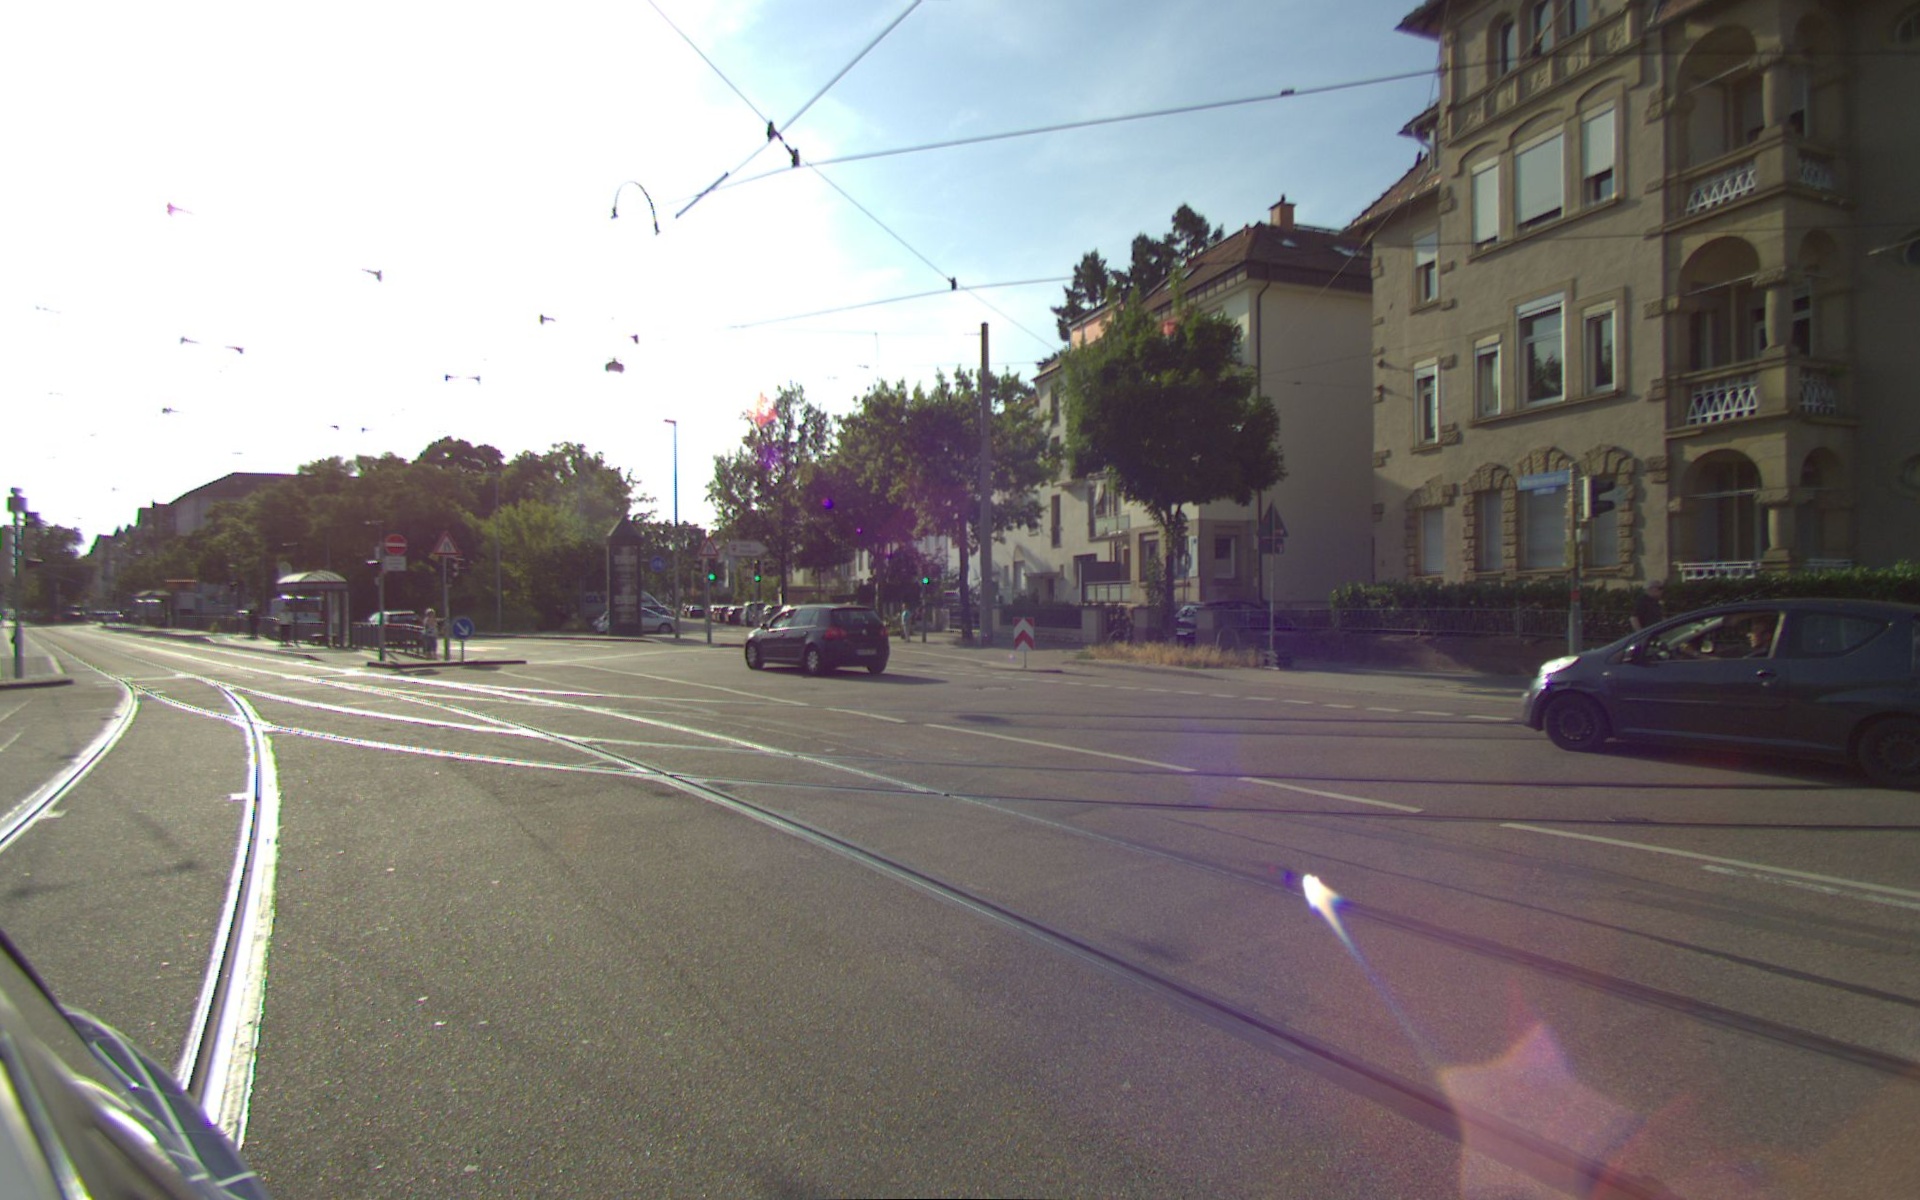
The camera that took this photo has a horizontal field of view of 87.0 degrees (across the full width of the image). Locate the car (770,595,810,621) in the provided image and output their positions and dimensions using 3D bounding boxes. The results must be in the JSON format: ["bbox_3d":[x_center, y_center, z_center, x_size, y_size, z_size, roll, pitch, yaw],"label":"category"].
[{"bbox_3d":[-9.795,0.441,58.245,1.523,1.437,3.877,-1,0,-21],"label":"car"}]

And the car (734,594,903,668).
[{"bbox_3d":[-3.147,0.626,21.905,1.745,1.444,4.006,-1,0,-40],"label":"car"}]

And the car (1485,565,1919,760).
[{"bbox_3d":[6.946,0.471,9.069,1.613,1.444,3.637,-1,0,-36],"label":"car"}]

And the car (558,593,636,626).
[{"bbox_3d":[-20.503,0.545,57.134,3.931,1.767,1.861,-1,0,-25],"label":"car"}]

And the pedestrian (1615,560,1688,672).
[{"bbox_3d":[10.544,0.235,15.445,0.669,1.664,0.606,-1,0,-17],"label":"pedestrian"}]

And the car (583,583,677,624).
[{"bbox_3d":[-24.445,0.227,75.029,6.487,2.830,1.778,-1,0,-23],"label":"car"}]

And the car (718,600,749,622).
[{"bbox_3d":[-17.935,0.879,80.119,1.786,1.626,4.013,-1,0,-21],"label":"car"}]

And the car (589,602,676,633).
[{"bbox_3d":[-16.219,0.826,50.141,3.930,1.439,1.778,-1,0,-23],"label":"car"}]

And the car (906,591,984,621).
[{"bbox_3d":[-0.843,0.340,55.768,3.931,1.570,1.862,-1,0,-18],"label":"car"}]

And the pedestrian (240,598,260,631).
[{"bbox_3d":[-36.323,0.735,51.749,0.726,1.640,0.690,-1,0,-44],"label":"pedestrian"}]

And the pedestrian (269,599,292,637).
[{"bbox_3d":[-29.485,0.765,43.913,0.698,1.640,0.728,-1,0,-44],"label":"pedestrian"}]

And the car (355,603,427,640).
[{"bbox_3d":[-25.744,0.992,45.683,1.746,1.506,4.748,-1,-2,-43],"label":"car"}]

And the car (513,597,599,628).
[{"bbox_3d":[-20.318,0.604,50.967,3.930,1.439,1.778,-1,0,-23],"label":"car"}]

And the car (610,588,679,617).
[{"bbox_3d":[-20.159,0.132,64.624,3.931,1.767,1.861,-1,0,-25],"label":"car"}]

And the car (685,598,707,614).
[{"bbox_3d":[-29.643,0.694,113.454,1.786,1.813,4.013,-1,0,-23],"label":"car"}]

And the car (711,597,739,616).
[{"bbox_3d":[-19.905,0.557,85.650,1.787,1.548,4.013,-1,0,-20],"label":"car"}]

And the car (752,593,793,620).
[{"bbox_3d":[-11.707,0.386,62.973,1.787,1.584,4.013,-1,0,-20],"label":"car"}]

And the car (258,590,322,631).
[{"bbox_3d":[-39.442,0.623,59.508,5.256,2.256,2.152,-1,0,45],"label":"car"}]

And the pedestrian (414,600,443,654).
[{"bbox_3d":[-16.245,0.813,30.934,0.715,1.601,0.583,-1,0,42],"label":"pedestrian"}]

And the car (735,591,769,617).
[{"bbox_3d":[-14.978,0.310,72.727,1.786,1.813,4.013,-1,0,-21],"label":"car"}]

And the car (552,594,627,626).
[{"bbox_3d":[-21.543,0.568,58.863,3.931,1.767,1.861,-1,0,-25],"label":"car"}]

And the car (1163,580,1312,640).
[{"bbox_3d":[8.292,0.281,30.261,3.931,1.644,1.782,-1,0,-19],"label":"car"}]
